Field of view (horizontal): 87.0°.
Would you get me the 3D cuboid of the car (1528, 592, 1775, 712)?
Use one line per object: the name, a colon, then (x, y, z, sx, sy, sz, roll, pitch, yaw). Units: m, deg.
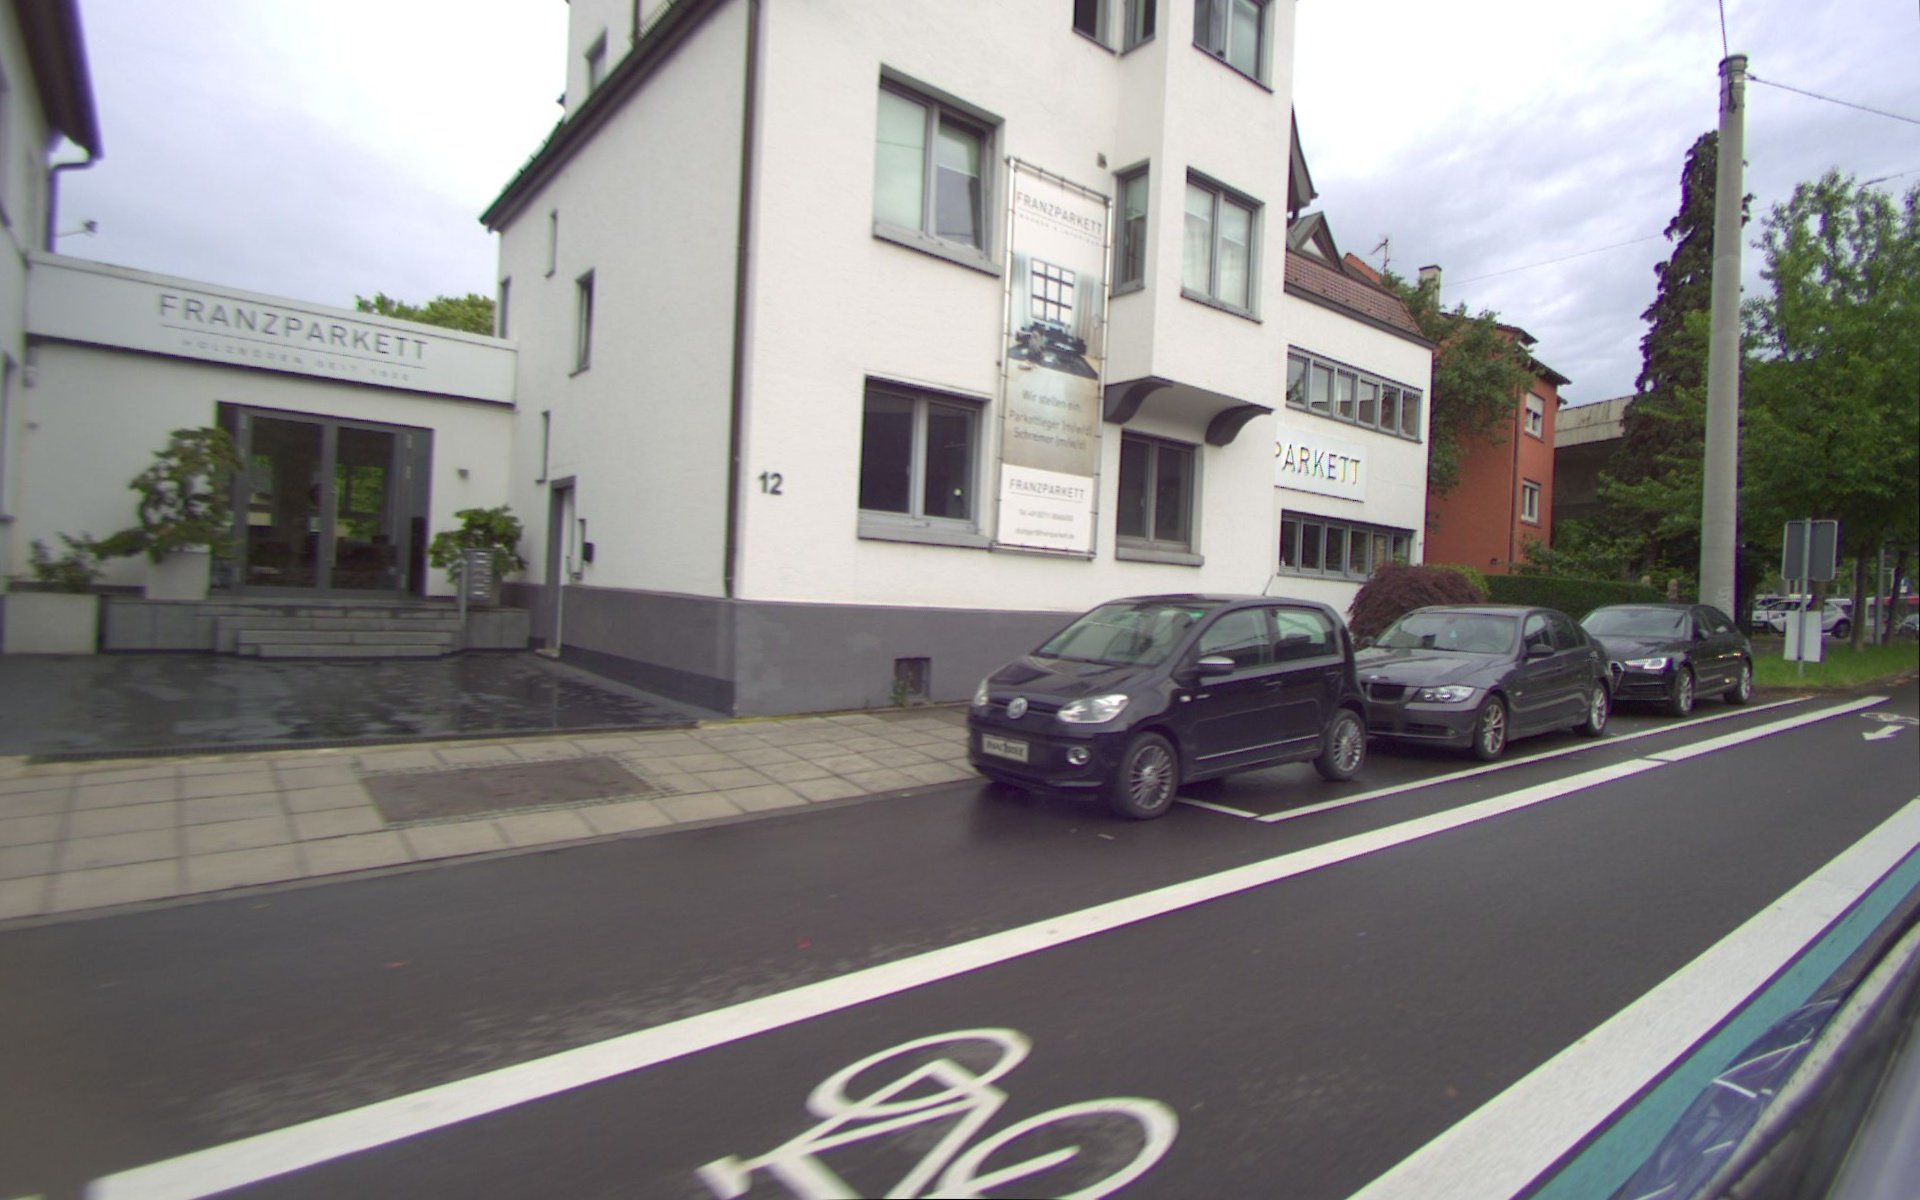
car: (9.864, 0.616, 14.296, 4.483, 1.441, 1.681, 0, 1, -39)

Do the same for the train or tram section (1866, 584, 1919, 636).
train or tram section: (74.562, 0.733, 75.211, 2.838, 4.011, 19.223, 0, 0, 17)

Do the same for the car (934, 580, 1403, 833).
car: (1.730, 0.610, 7.839, 3.652, 1.469, 1.582, -1, 2, -38)

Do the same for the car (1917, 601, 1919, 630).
car: (51.051, 0.874, 52.470, 1.773, 1.520, 3.943, 2, 2, 40)

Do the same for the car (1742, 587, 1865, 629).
car: (33.244, 0.308, 39.926, 3.658, 1.541, 1.806, 1, 0, -11)

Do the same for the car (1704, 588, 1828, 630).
car: (33.888, 0.385, 42.603, 3.940, 1.651, 1.971, 1, 0, -11)

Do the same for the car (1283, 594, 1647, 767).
car: (5.431, 0.665, 10.625, 4.483, 1.430, 1.716, 0, 1, -39)

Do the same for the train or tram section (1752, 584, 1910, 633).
train or tram section: (79.903, 0.714, 93.703, 2.835, 4.021, 19.241, 0, 0, 15)
